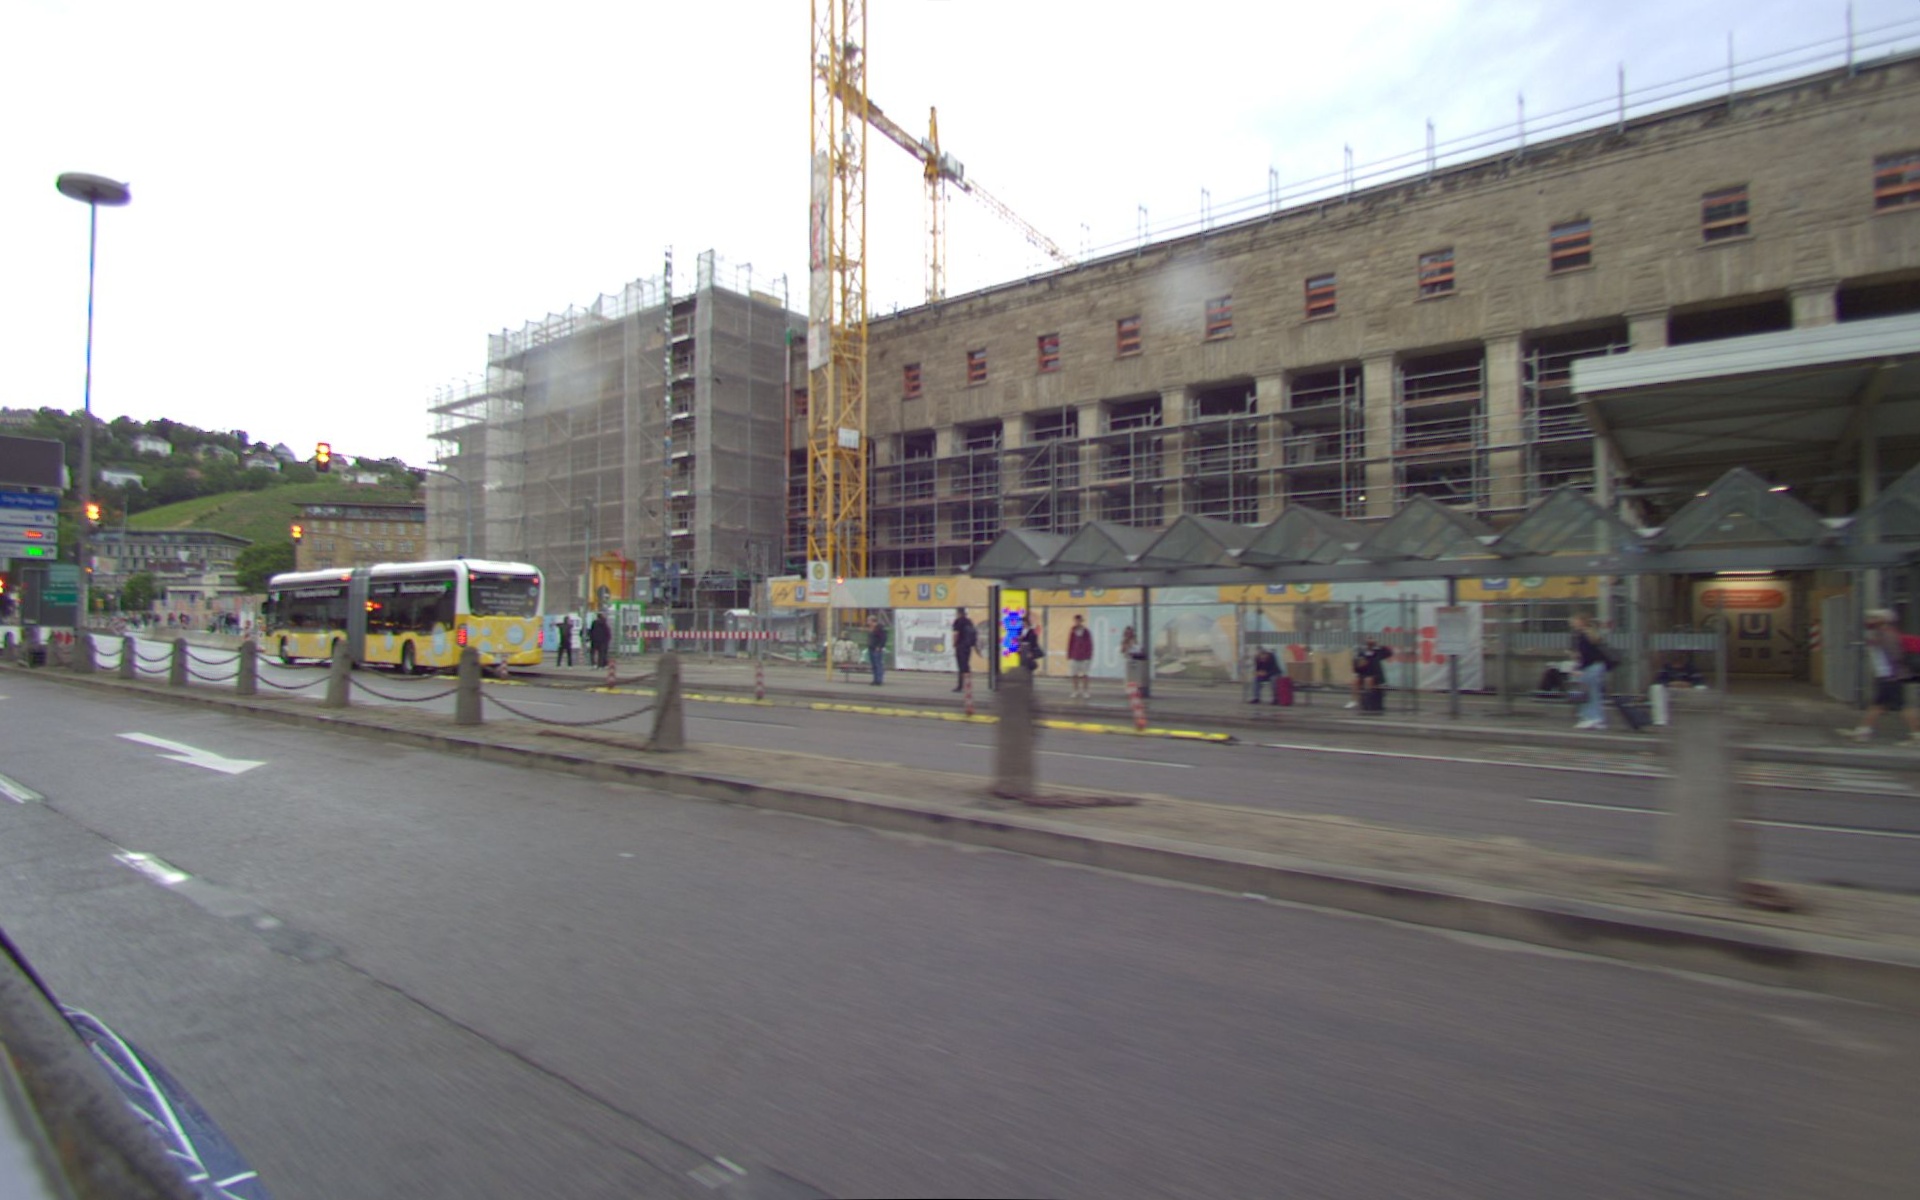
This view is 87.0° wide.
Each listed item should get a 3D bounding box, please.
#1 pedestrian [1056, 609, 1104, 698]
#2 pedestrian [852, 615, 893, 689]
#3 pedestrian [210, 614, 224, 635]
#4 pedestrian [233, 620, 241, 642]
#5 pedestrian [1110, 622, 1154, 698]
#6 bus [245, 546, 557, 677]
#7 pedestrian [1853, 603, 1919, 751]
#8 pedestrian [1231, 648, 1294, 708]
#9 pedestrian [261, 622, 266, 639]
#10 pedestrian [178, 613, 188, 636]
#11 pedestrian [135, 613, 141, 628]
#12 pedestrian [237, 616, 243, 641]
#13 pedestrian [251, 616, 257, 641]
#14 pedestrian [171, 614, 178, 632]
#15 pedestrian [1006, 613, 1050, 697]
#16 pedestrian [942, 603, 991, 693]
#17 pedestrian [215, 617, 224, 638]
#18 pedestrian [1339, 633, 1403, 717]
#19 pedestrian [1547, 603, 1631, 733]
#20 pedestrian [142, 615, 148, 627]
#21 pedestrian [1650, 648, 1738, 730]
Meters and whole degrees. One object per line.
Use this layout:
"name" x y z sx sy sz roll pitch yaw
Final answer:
"pedestrian" 2.508 1.098 21.137 0.745 1.804 0.718 -1 -1 32
"pedestrian" -2.183 1.281 25.231 0.690 1.804 0.795 1 -2 -40
"pedestrian" -58.883 1.942 80.214 0.617 1.698 0.796 -1 -2 42
"pedestrian" -52.816 2.246 73.936 0.365 1.633 0.395 -1 0 44
"pedestrian" 3.791 1.303 22.296 0.802 1.642 0.552 -1 -1 30
"bus" -20.093 0.475 34.988 19.064 3.605 2.880 -1 -3 41
"pedestrian" 11.953 0.941 12.752 0.661 1.804 0.785 0 -1 -13
"pedestrian" 5.876 1.500 19.651 0.924 1.101 0.836 -1 -1 37
"pedestrian" -51.113 2.254 74.295 0.251 1.202 0.390 0 0 -45
"pedestrian" -70.676 2.252 92.089 0.685 2.049 0.586 -1 -1 39
"pedestrian" -87.809 2.182 108.104 0.357 1.628 0.370 -1 -2 39
"pedestrian" -52.209 2.060 73.366 0.346 1.783 0.307 -1 -2 43
"pedestrian" -51.575 2.097 73.931 0.268 1.783 0.310 -1 0 43
"pedestrian" -70.809 2.063 91.192 0.413 1.628 0.433 -1 -1 39
"pedestrian" 1.508 1.191 22.285 0.802 1.804 0.552 -1 -1 30
"pedestrian" 0.136 1.050 22.629 0.821 1.973 0.752 -1 -1 35
"pedestrian" -62.858 2.310 85.927 0.462 1.768 0.511 -1 0 39
"pedestrian" 7.501 1.340 18.465 0.829 1.443 1.045 -1 -1 36
"pedestrian" 9.129 0.957 14.684 0.861 1.804 0.766 -2 -2 45
"pedestrian" -87.543 2.248 108.759 0.413 1.250 0.433 -1 -2 42
"pedestrian" 11.336 1.347 15.627 1.053 1.167 0.940 -1 -1 38
